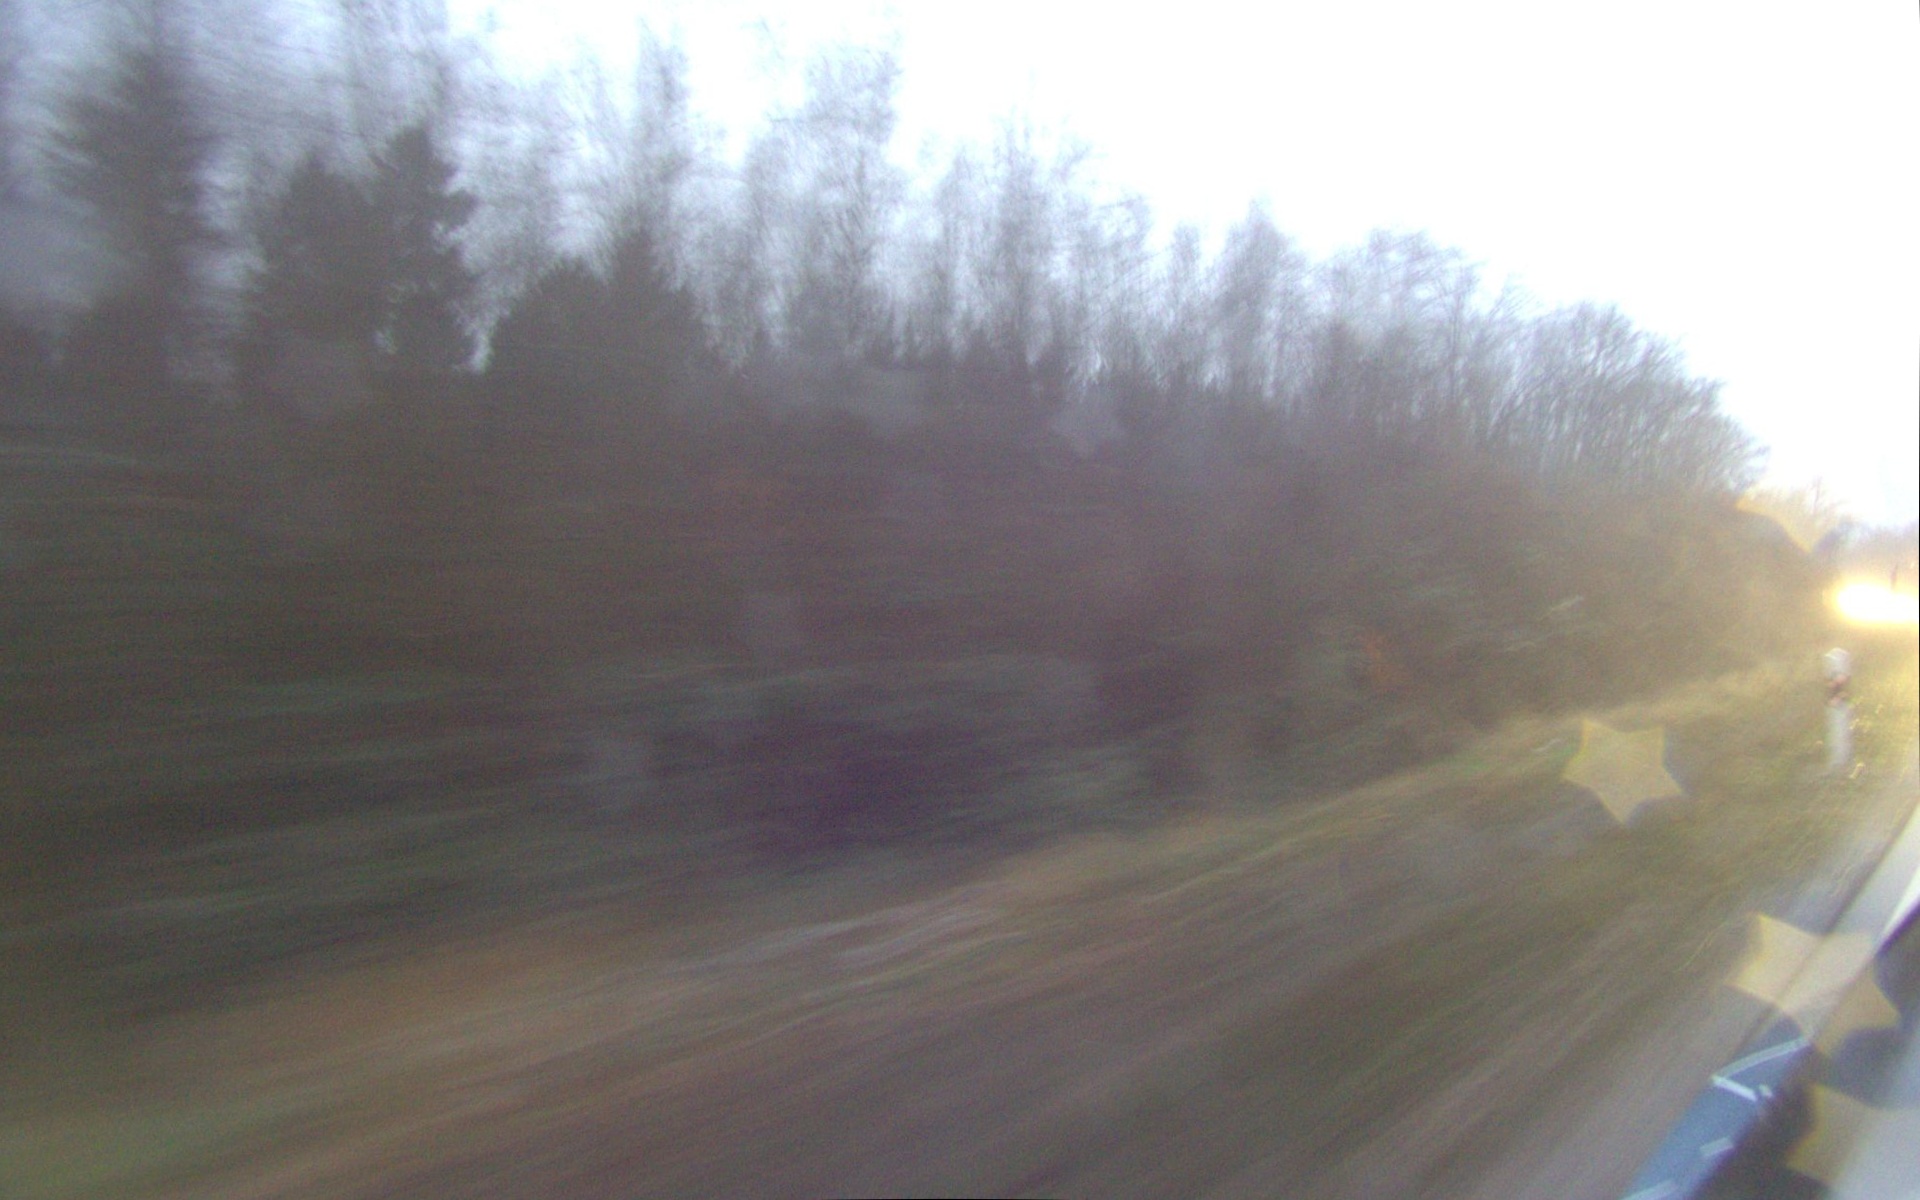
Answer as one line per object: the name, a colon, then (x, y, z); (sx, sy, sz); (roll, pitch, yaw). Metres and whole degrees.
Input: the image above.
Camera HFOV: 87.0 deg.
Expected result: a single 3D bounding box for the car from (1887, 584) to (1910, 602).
car: (96.261, -0.734, 103.855); (1.696, 1.752, 3.939); (-1, 1, 43)
